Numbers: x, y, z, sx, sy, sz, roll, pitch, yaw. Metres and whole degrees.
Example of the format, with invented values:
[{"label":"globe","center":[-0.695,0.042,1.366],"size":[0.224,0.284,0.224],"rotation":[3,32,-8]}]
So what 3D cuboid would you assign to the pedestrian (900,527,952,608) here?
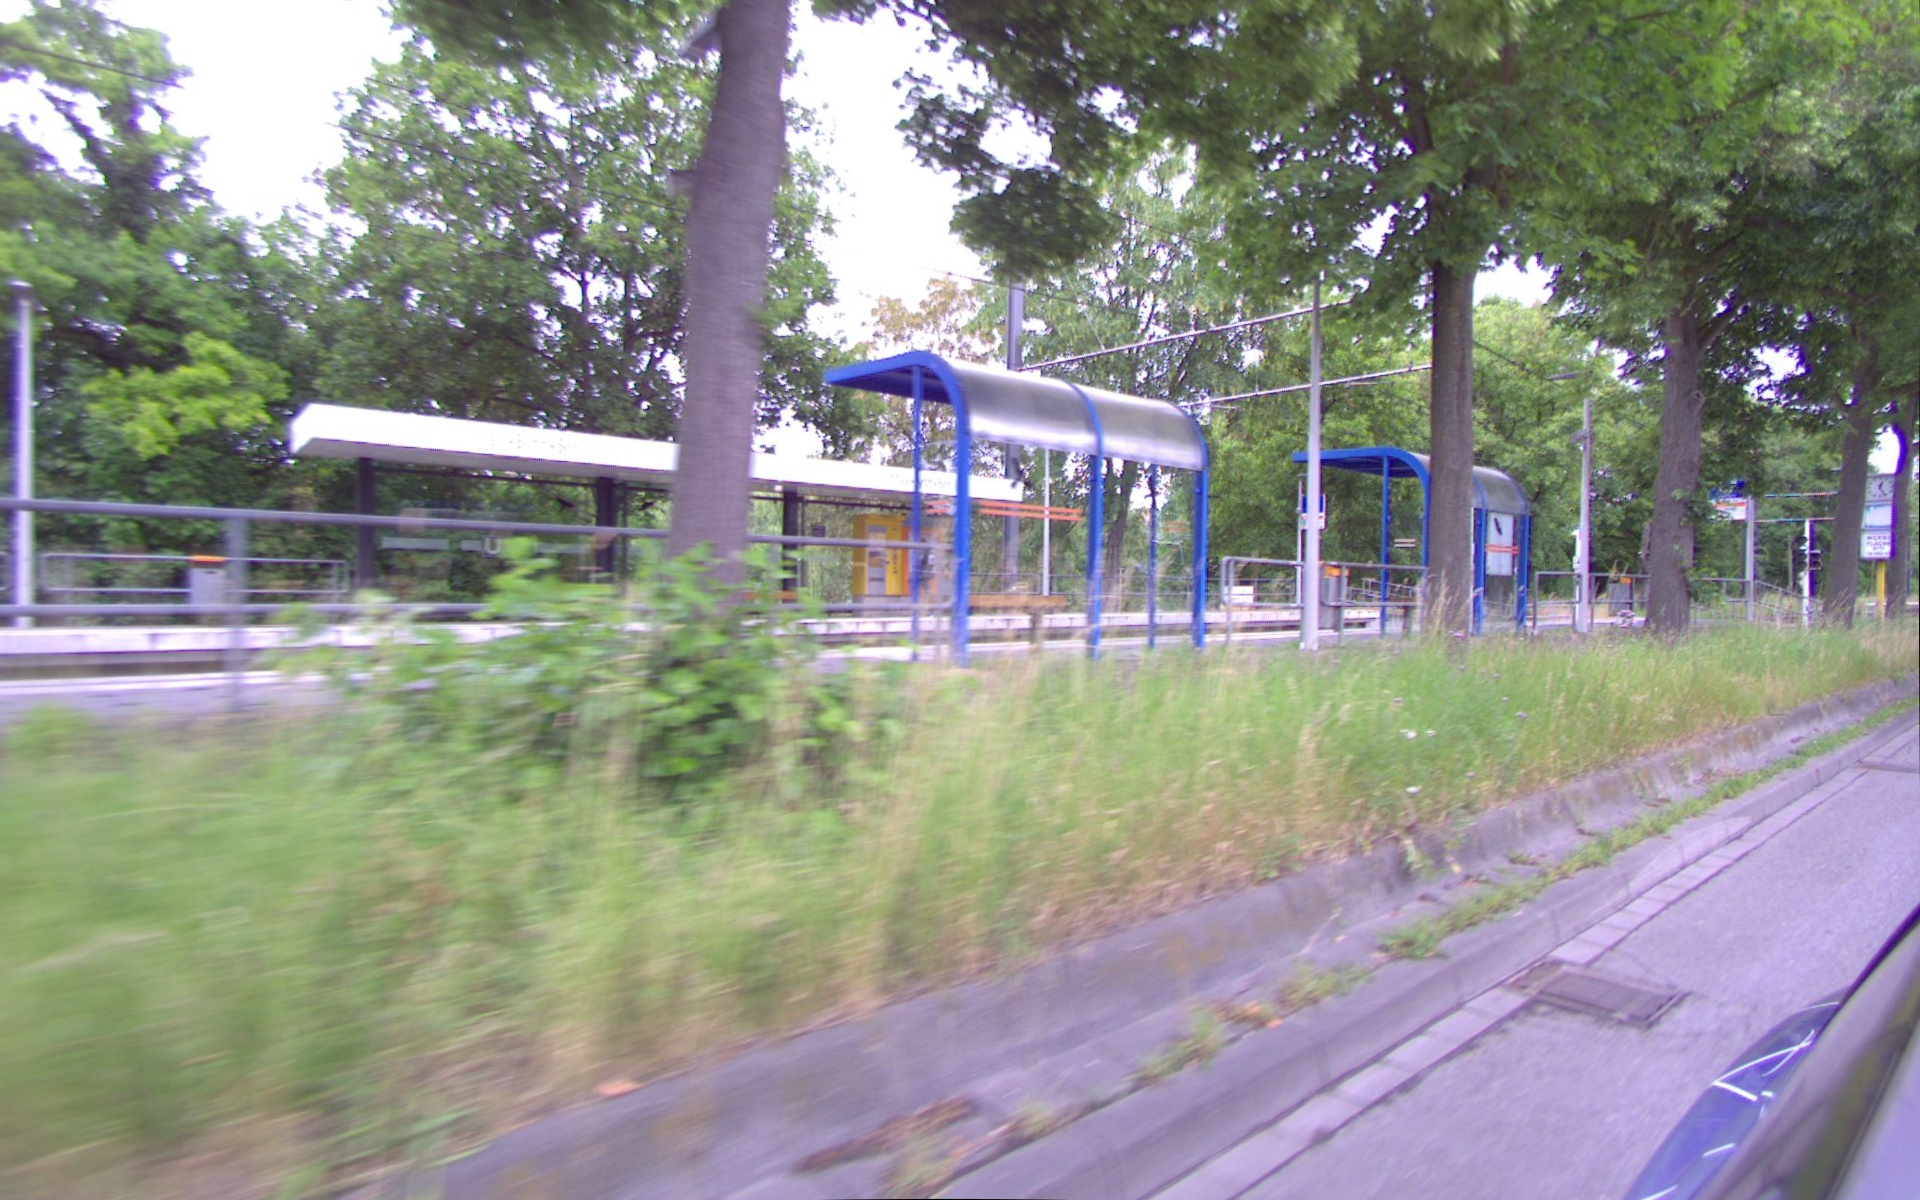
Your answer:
[{"label":"pedestrian","center":[-0.660,-0.622,19.689],"size":[0.710,1.530,0.720],"rotation":[-1,-1,-38]}]
